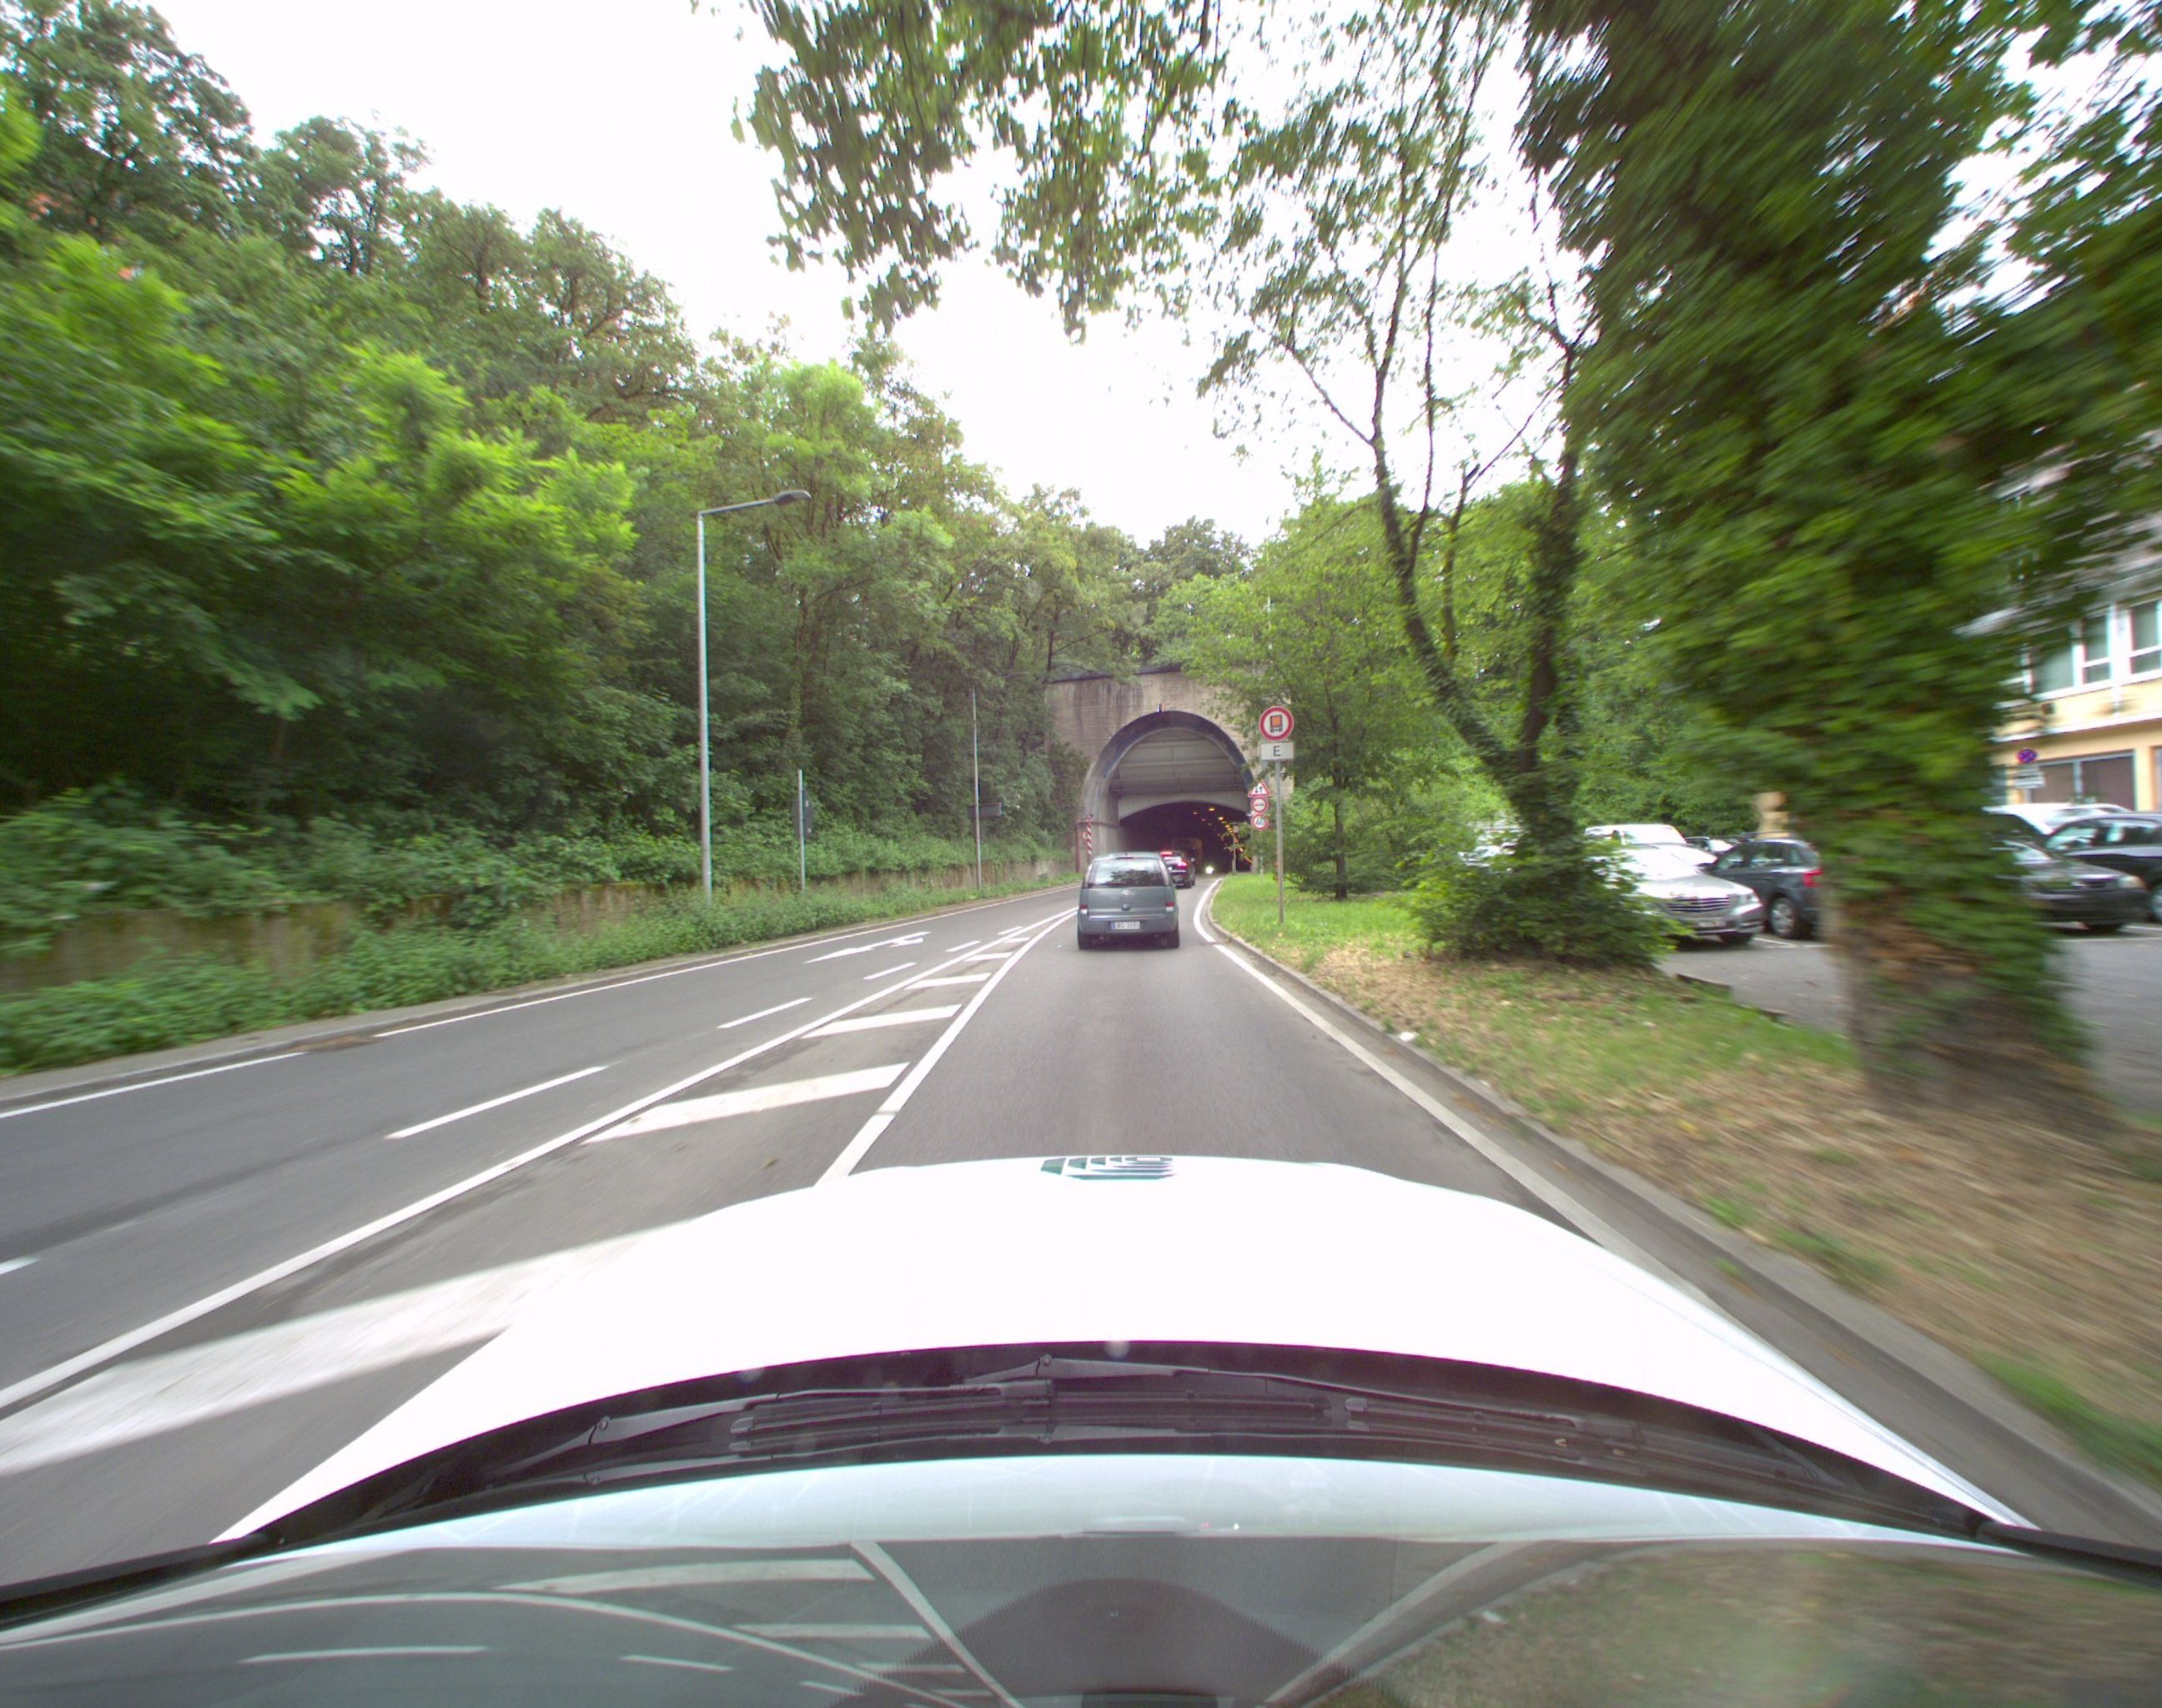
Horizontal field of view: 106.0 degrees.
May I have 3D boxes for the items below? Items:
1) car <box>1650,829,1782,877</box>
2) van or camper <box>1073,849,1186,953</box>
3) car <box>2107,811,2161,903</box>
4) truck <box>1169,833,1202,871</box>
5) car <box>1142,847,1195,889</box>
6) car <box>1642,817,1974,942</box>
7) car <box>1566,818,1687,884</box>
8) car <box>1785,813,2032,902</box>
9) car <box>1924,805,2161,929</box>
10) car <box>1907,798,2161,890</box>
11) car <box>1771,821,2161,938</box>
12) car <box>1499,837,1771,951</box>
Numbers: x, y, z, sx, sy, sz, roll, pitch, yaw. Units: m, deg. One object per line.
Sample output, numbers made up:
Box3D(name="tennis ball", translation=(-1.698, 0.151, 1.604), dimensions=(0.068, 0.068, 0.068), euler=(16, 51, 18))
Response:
Box3D(name="car", translation=(21.252, -0.017, 27.486), dimensions=(1.784, 1.426, 4.340), euler=(-2, 0, 12))
Box3D(name="van or camper", translation=(0.815, 0.735, 14.659), dimensions=(1.729, 1.578, 3.647), euler=(-2, 0, 1))
Box3D(name="car", translation=(17.416, 0.032, 11.212), dimensions=(1.772, 1.445, 4.423), euler=(-3, 0, 15))
Box3D(name="truck", translation=(10.714, -0.165, 83.162), dimensions=(2.658, 3.667, 7.542), euler=(-1, 0, 12))
Box3D(name="car", translation=(3.921, 0.583, 36.033), dimensions=(1.981, 1.653, 4.011), euler=(-3, -1, 10))
Box3D(name="car", translation=(11.004, 0.318, 12.882), dimensions=(1.773, 1.558, 4.608), euler=(-3, 0, 11))
Box3D(name="car", translation=(18.491, -0.089, 27.889), dimensions=(1.844, 2.014, 4.577), euler=(-2, 0, 12))
Box3D(name="car", translation=(16.453, -0.023, 16.509), dimensions=(1.792, 1.441, 4.026), euler=(-2, 3, 17))
Box3D(name="car", translation=(15.397, 0.107, 12.193), dimensions=(1.772, 1.594, 4.423), euler=(-3, 0, 15))
Box3D(name="car", translation=(18.513, -0.296, 15.709), dimensions=(1.792, 1.441, 4.265), euler=(-2, 3, 17))
Box3D(name="car", translation=(12.989, 0.301, 12.370), dimensions=(1.773, 1.378, 4.608), euler=(-3, 0, 11))
Box3D(name="car", translation=(8.599, 0.515, 13.292), dimensions=(1.773, 1.442, 5.078), euler=(-3, 0, 11))
